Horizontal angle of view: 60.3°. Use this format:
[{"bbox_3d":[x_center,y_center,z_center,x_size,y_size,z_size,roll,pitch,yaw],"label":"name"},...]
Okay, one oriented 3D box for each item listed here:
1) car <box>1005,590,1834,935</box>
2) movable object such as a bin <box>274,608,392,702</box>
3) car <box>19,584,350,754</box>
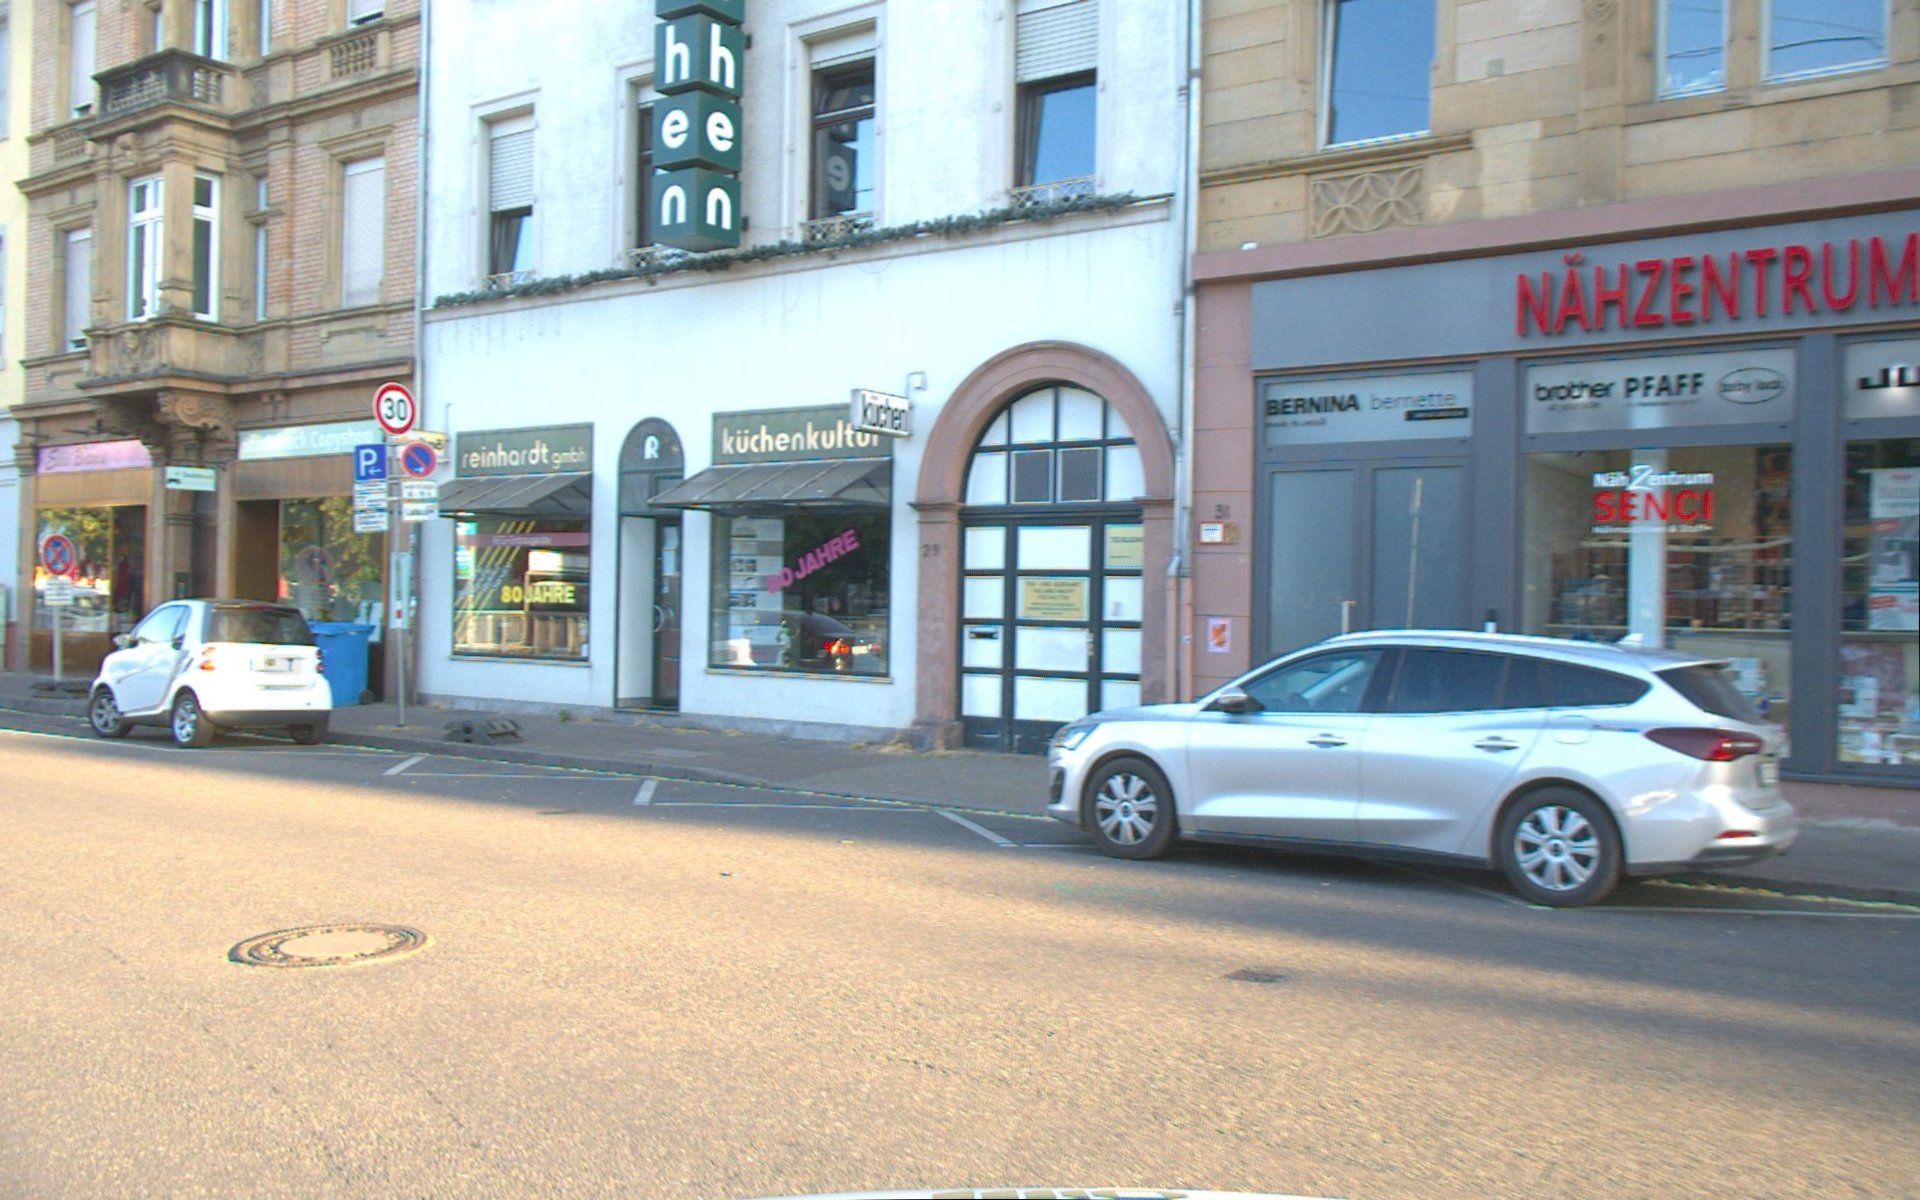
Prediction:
[{"bbox_3d":[2.761,0.819,10.363,4.586,1.562,1.993,2,0,34],"label":"car"},{"bbox_3d":[-8.500,0.729,22.416,1.370,1.207,0.866,1,0,35],"label":"movable object such as a bin"},{"bbox_3d":[-8.837,0.705,18.748,3.920,1.612,1.699,2,1,36],"label":"car"}]
